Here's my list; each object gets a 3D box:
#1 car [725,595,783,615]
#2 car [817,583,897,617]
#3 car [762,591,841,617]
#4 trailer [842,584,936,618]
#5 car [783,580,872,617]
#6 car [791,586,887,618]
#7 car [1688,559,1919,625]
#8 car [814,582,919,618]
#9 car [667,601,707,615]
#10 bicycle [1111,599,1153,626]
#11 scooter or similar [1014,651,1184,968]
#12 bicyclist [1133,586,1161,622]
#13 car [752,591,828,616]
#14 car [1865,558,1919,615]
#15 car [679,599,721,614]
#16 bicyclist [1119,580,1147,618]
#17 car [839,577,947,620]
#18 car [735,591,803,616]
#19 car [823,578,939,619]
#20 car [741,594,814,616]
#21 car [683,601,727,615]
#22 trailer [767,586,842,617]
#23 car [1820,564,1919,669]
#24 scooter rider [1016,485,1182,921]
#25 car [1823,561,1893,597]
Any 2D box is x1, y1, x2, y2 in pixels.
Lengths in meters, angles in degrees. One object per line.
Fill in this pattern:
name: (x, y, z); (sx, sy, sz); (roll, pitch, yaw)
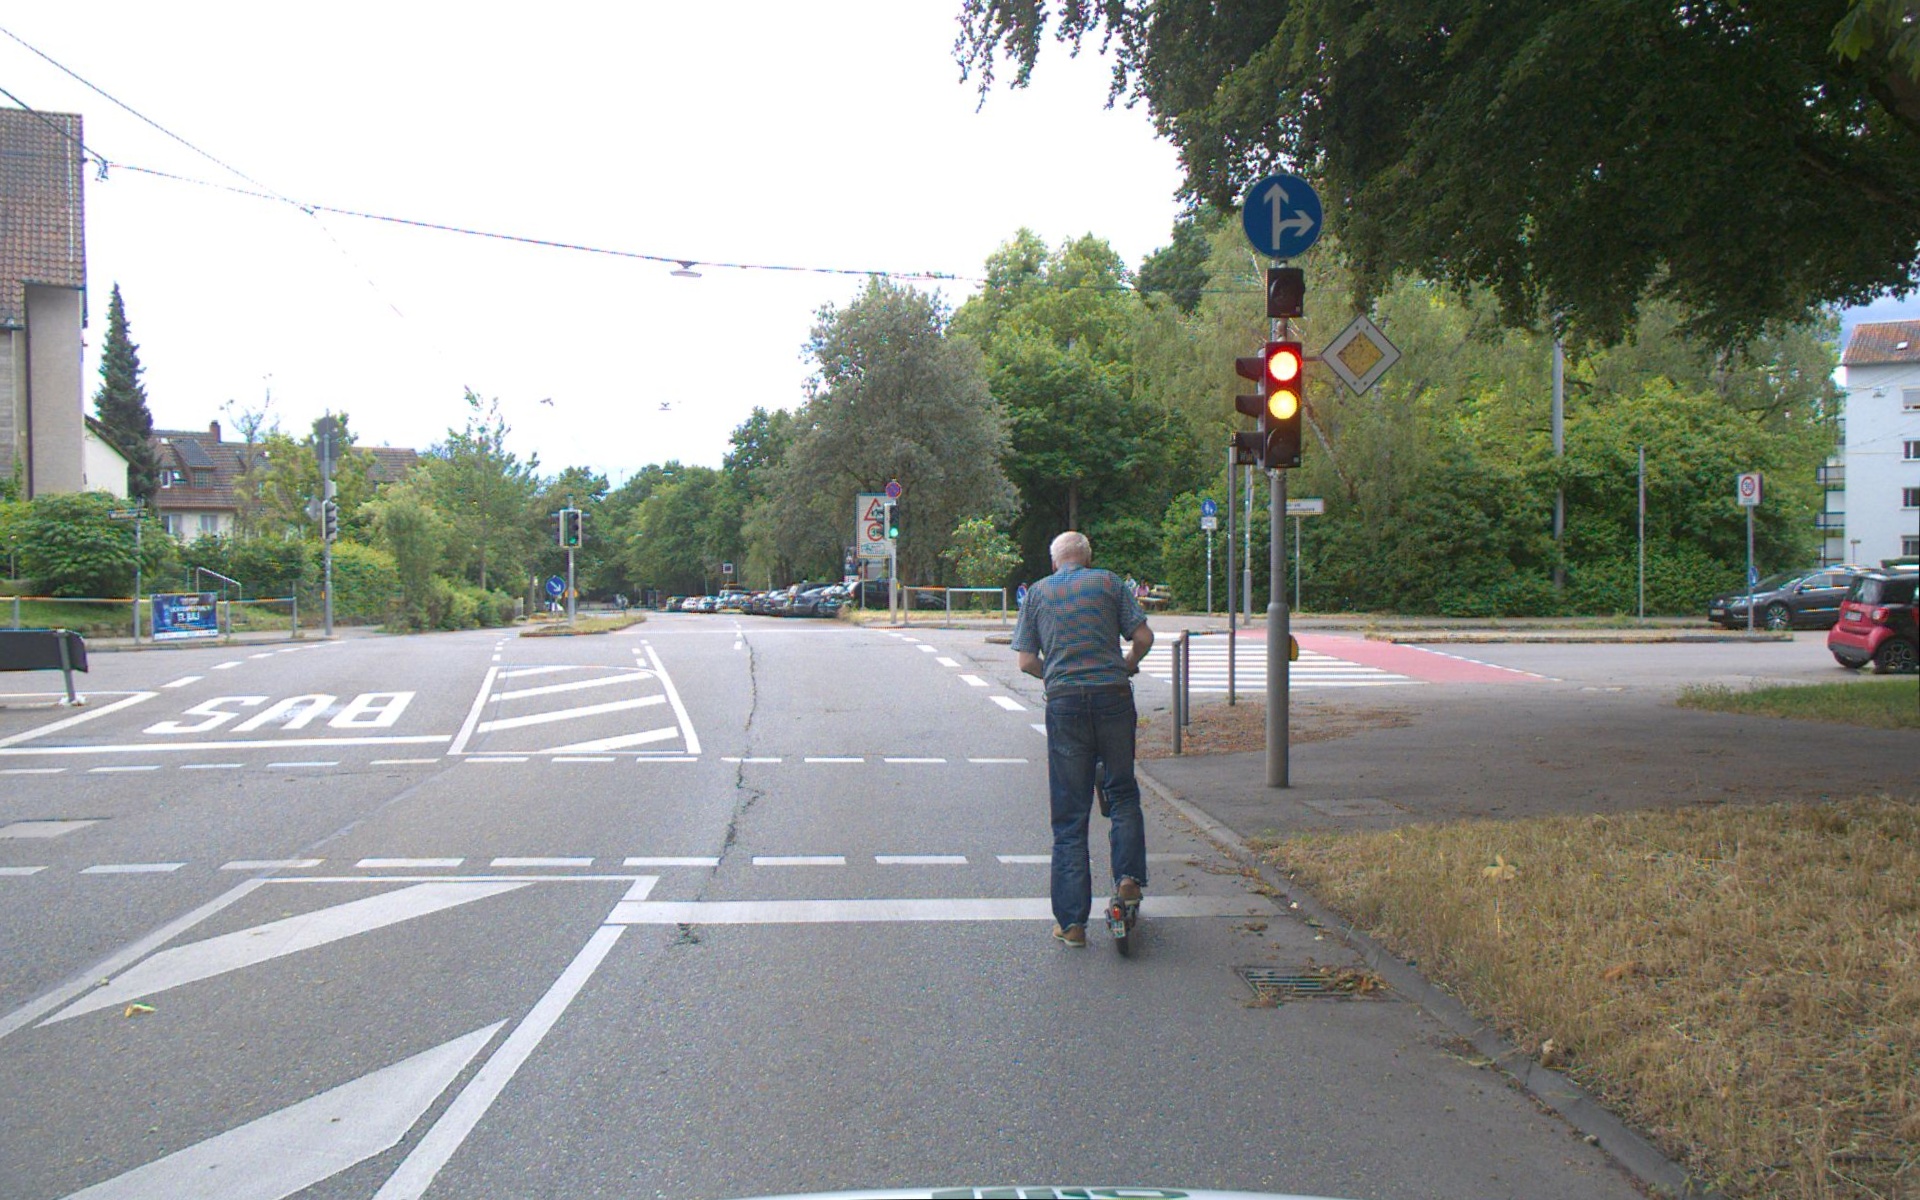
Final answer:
car: (-15.153, 0.370, 121.558); (3.917, 1.430, 1.741); (1, -1, -27)
car: (-4.647, 0.008, 74.459); (3.279, 1.490, 1.624); (0, -1, -22)
car: (-8.486, 0.207, 88.766); (3.979, 1.351, 1.549); (0, -1, -21)
trailer: (-2.797, 0.041, 64.941); (3.354, 1.289, 1.606); (0, -1, -22)
car: (-6.330, -0.063, 78.911); (3.929, 1.755, 1.670); (0, -1, -21)
car: (-5.586, 0.103, 76.166); (4.103, 1.431, 1.686); (0, -1, -23)
car: (19.918, -0.210, 38.971); (4.694, 1.464, 2.036); (0, 1, -7)
car: (-3.951, -0.022, 69.685); (4.158, 1.490, 1.625); (0, 0, -21)
car: (-29.001, 0.800, 175.859); (3.847, 1.454, 1.725); (0, -1, -32)
bicycle: (5.719, 0.407, 54.866); (0.629, 0.771, 1.675); (2, 5, 36)
scooter or similar: (0.602, 0.849, 7.265); (0.667, 1.159, 1.461); (0, 2, 4)
bicyclist: (6.374, 0.127, 56.288); (0.509, 1.208, 0.963); (-2, -2, 38)
car: (-10.141, 0.219, 98.663); (4.291, 1.471, 1.620); (0, 0, -27)
car: (26.281, -0.364, 45.233); (1.763, 1.513, 3.673); (0, 0, 14)
car: (-26.110, 0.655, 166.292); (3.847, 1.454, 1.725); (0, -1, -32)
bicyclist: (5.732, -0.024, 54.842); (0.629, 1.181, 0.801); (2, 5, 36)
car: (-2.423, -0.064, 59.459); (3.653, 1.502, 1.570); (0, 0, -15)
car: (-12.274, 0.212, 106.554); (4.036, 1.542, 1.713); (-1, 0, -34)
car: (-2.969, -0.066, 61.996); (4.078, 1.502, 1.565); (0, -1, -23)
car: (-11.494, 0.309, 103.937); (4.259, 1.364, 1.719); (0, -1, -26)
car: (-24.336, 0.731, 158.079); (3.854, 1.332, 1.721); (0, -1, -37)
trailer: (-8.108, 0.094, 86.273); (3.639, 1.562, 1.634); (0, 0, -24)
car: (15.052, 0.237, 25.365); (2.850, 1.532, 1.697); (0, 2, 3)
scooter rider: (0.606, 0.398, 7.287); (0.667, 1.760, 1.197); (0, 2, 4)
car: (40.520, -0.943, 74.707); (1.888, 1.572, 4.067); (0, 0, 15)
